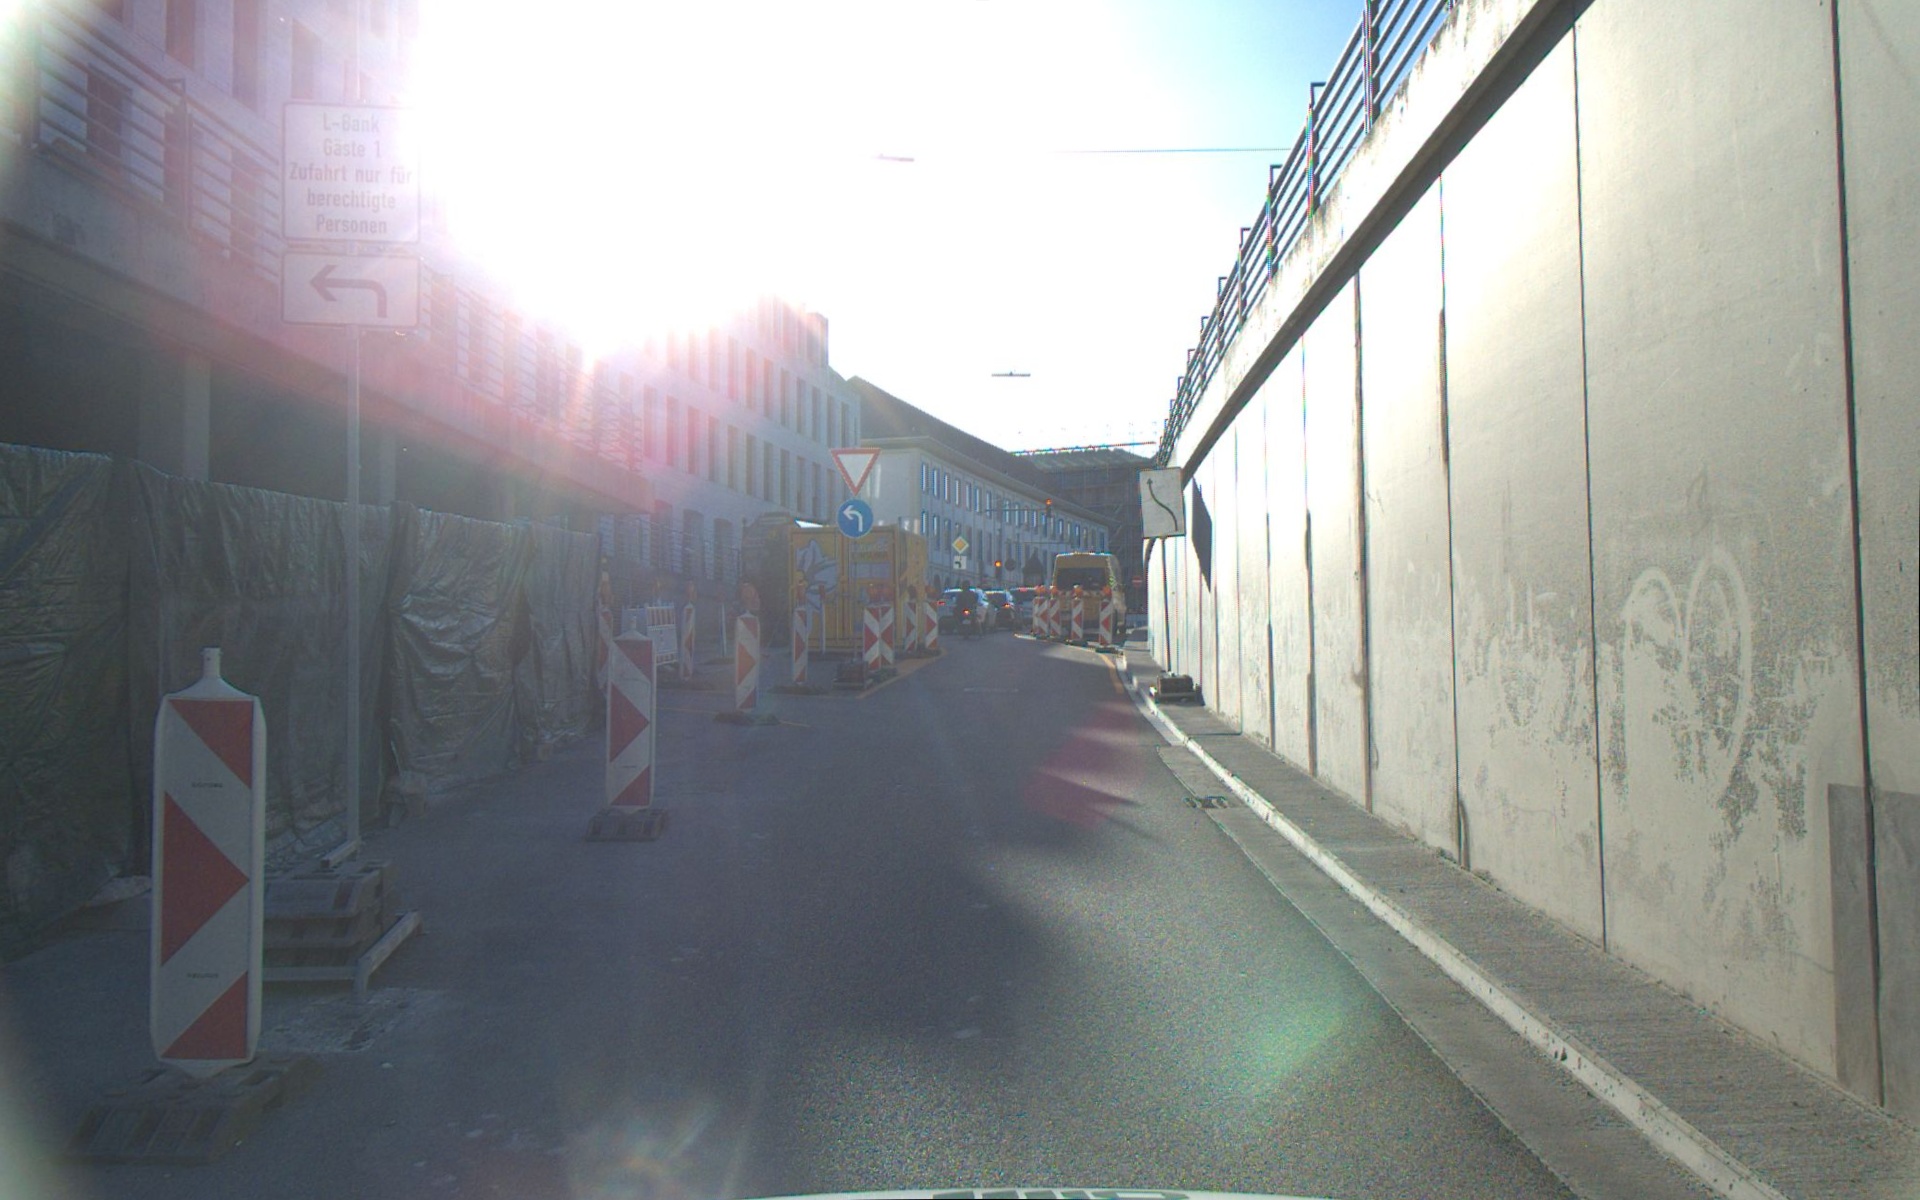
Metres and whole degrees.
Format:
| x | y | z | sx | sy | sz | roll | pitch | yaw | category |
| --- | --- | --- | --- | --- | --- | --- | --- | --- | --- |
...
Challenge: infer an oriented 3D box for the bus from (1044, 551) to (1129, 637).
| x | y | z | sx | sy | sz | roll | pitch | yaw | category |
| --- | --- | --- | --- | --- | --- | --- | --- | --- | --- |
| 4.053 | -0.177 | 52.357 | 2.177 | 2.602 | 4.430 | 0 | -1 | 11 | bus |

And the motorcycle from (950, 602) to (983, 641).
| x | y | z | sx | sy | sz | roll | pitch | yaw | category |
| --- | --- | --- | --- | --- | --- | --- | --- | --- | --- |
| 0.210 | 0.639 | 48.563 | 0.755 | 1.010 | 2.184 | 0 | -4 | 6 | motorcycle |

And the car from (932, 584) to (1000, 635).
| x | y | z | sx | sy | sz | roll | pitch | yaw | category |
| --- | --- | --- | --- | --- | --- | --- | --- | --- | --- |
| 0.248 | 0.342 | 55.406 | 1.738 | 1.632 | 4.003 | 1 | -1 | 8 | car |

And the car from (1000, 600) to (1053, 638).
| x | y | z | sx | sy | sz | roll | pitch | yaw | category |
| --- | --- | --- | --- | --- | --- | --- | --- | --- | --- |
| 2.861 | 0.818 | 70.857 | 1.817 | 1.560 | 4.003 | 1 | -1 | 9 | car |

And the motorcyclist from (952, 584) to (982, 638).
| x | y | z | sx | sy | sz | roll | pitch | yaw | category |
| --- | --- | --- | --- | --- | --- | --- | --- | --- | --- |
| 0.215 | 0.338 | 48.563 | 0.787 | 1.531 | 0.777 | 0 | -4 | 6 | motorcyclist |

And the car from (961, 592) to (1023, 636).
| x | y | z | sx | sy | sz | roll | pitch | yaw | category |
| --- | --- | --- | --- | --- | --- | --- | --- | --- | --- |
| 1.245 | 0.540 | 61.822 | 1.782 | 1.560 | 4.003 | 1 | -1 | 9 | car |
